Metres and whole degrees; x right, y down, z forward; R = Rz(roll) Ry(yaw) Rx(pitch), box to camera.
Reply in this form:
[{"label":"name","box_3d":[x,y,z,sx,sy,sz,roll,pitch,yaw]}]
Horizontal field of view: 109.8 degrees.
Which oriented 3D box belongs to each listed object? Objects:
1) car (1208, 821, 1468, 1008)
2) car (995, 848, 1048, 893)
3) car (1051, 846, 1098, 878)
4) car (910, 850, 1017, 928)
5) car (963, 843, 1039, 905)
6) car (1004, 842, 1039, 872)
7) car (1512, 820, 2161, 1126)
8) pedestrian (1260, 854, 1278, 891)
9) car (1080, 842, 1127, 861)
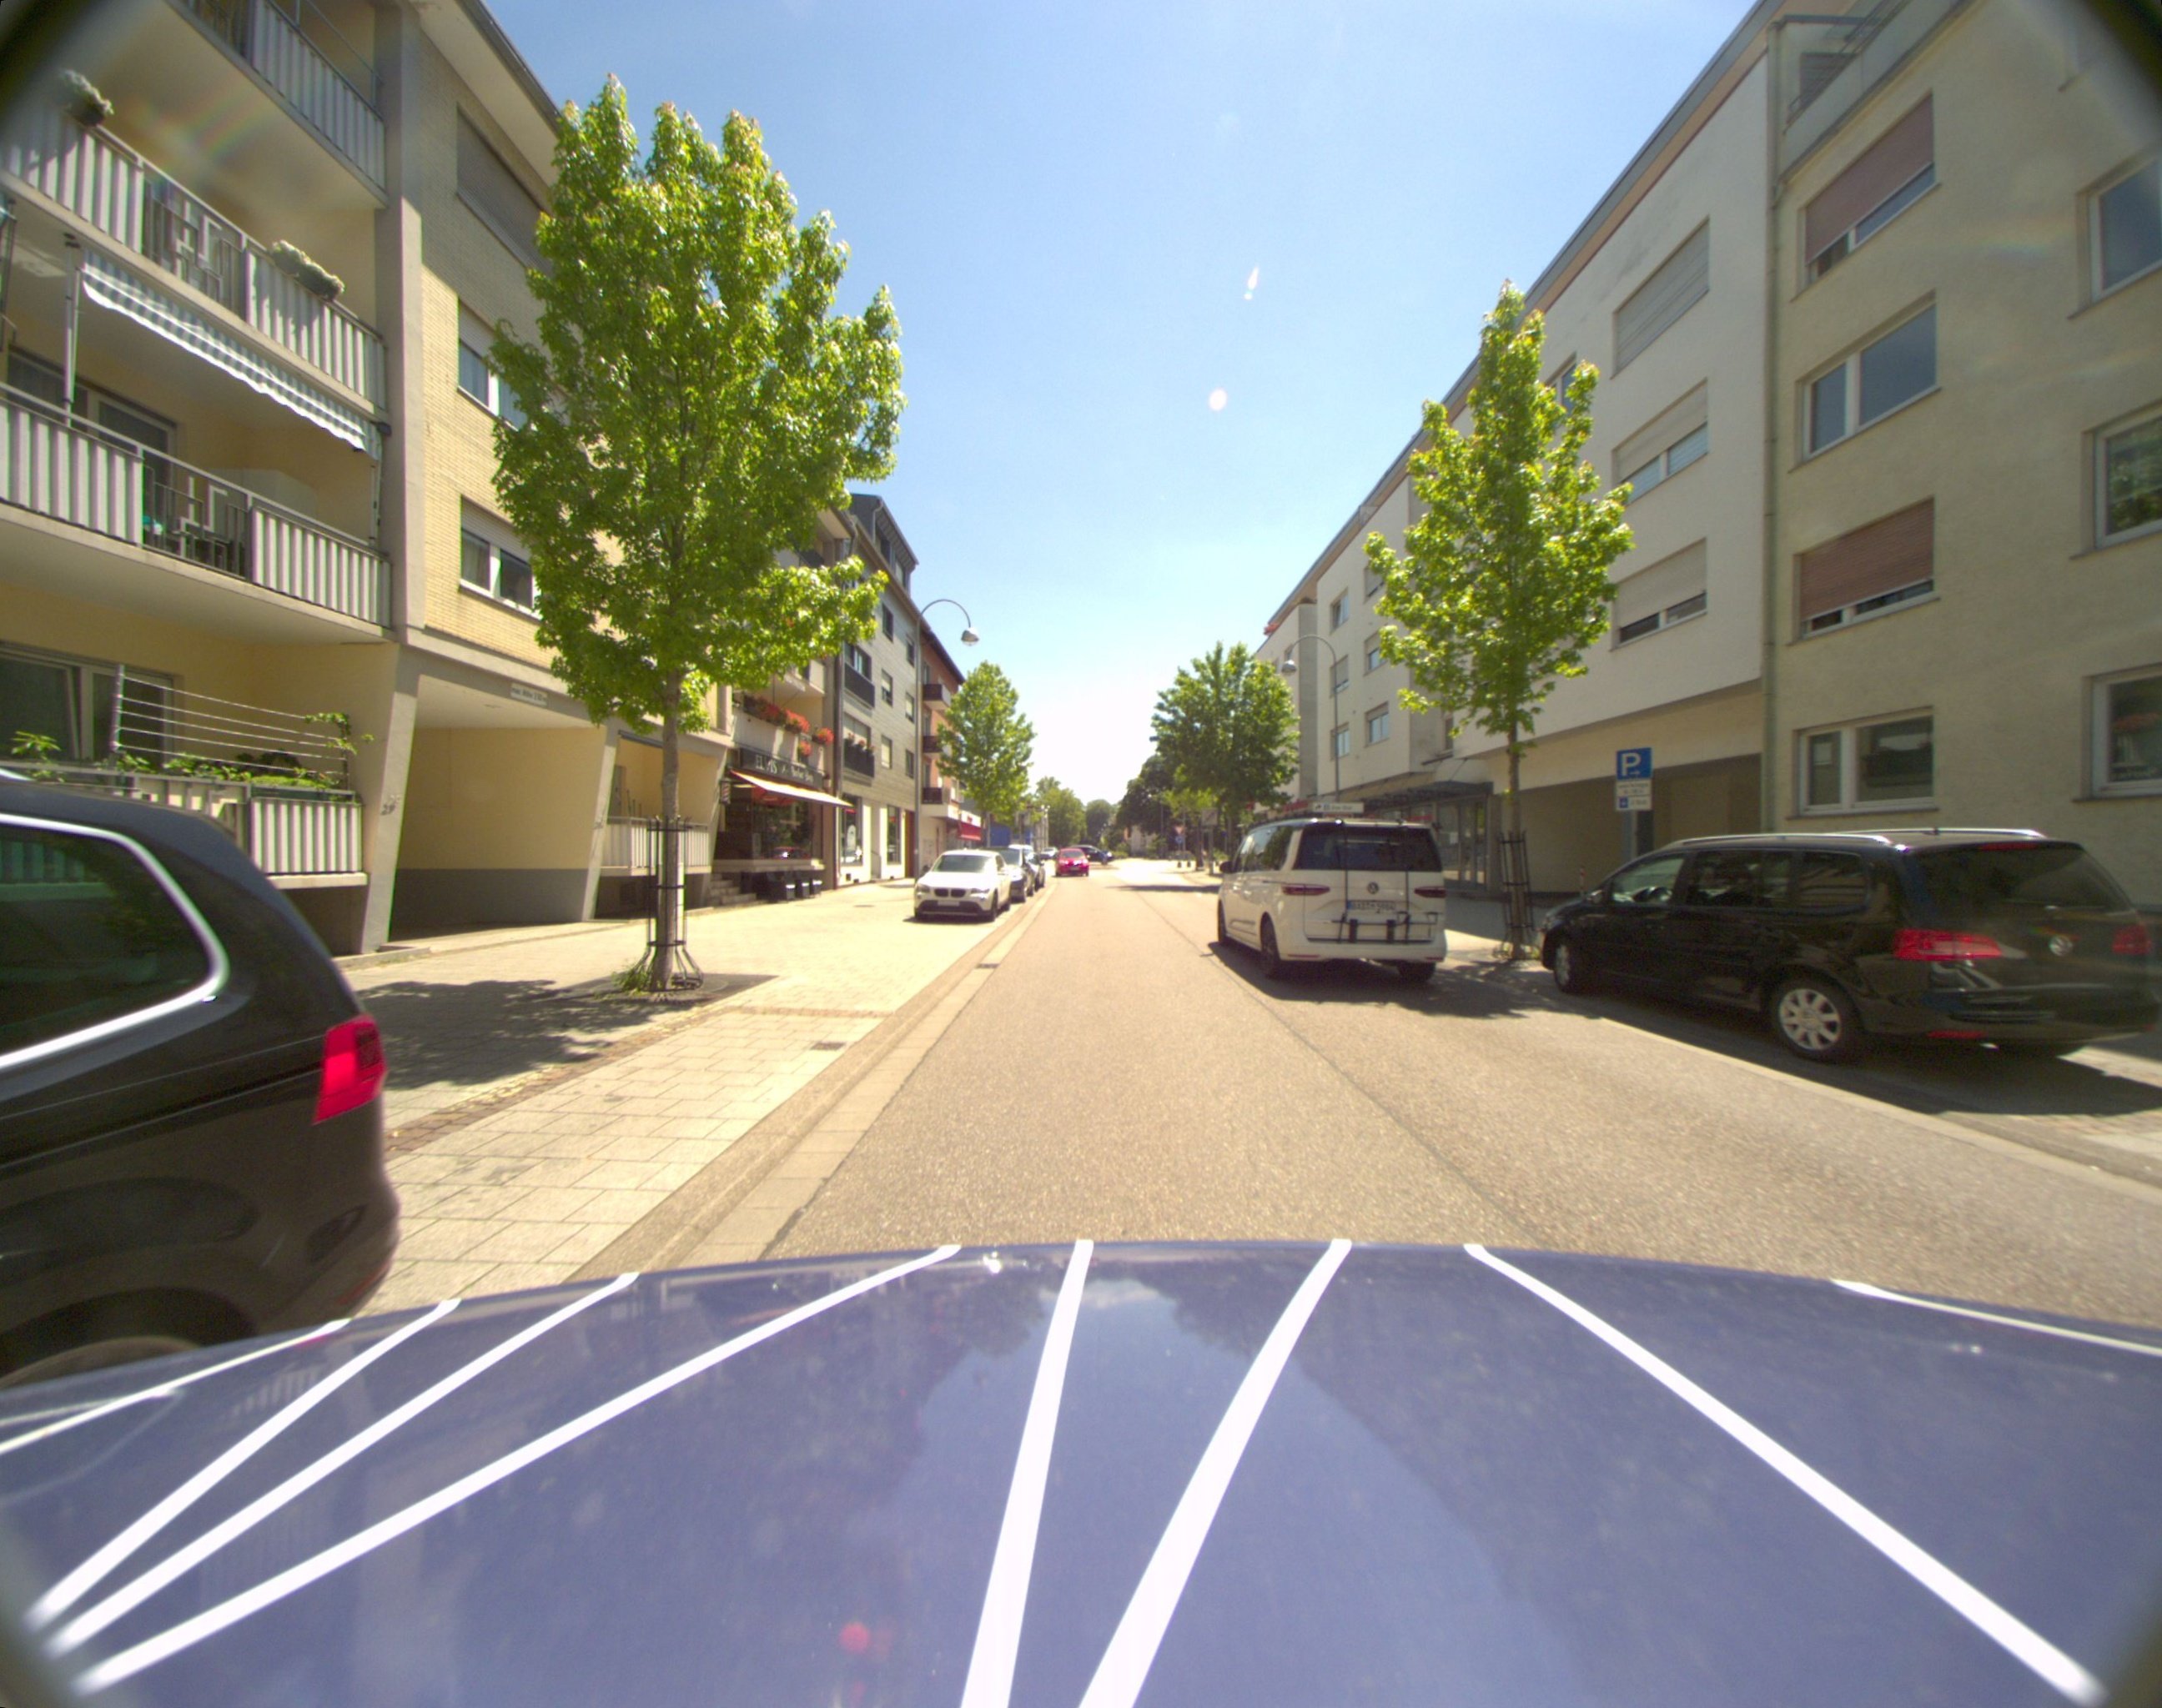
[{"label":"car","box_3d":[3.096,0.616,10.413,1.911,1.911,4.905,1,1,1]},{"label":"car","box_3d":[-2.178,0.555,28.669,1.626,1.550,3.840,1,1,1]},{"label":"car","box_3d":[-0.418,0.405,42.148,1.835,1.525,3.994,-2,3,-11]},{"label":"car","box_3d":[-2.654,0.722,18.092,1.726,1.574,4.225,1,1,2]},{"label":"car","box_3d":[-2.398,0.539,23.765,1.768,1.696,4.705,1,1,1]},{"label":"car","box_3d":[-3.688,0.171,46.558,1.753,1.714,3.906,2,0,-10]},{"label":"car","box_3d":[5.953,0.695,6.676,1.733,1.730,4.392,-3,0,-1]},{"label":"pedestrian","box_3d":[7.081,0.674,28.656,0.568,1.364,0.667,1,2,10]},{"label":"car","box_3d":[2.040,-0.234,67.320,3.995,1.554,1.805,1,-2,5]}]
